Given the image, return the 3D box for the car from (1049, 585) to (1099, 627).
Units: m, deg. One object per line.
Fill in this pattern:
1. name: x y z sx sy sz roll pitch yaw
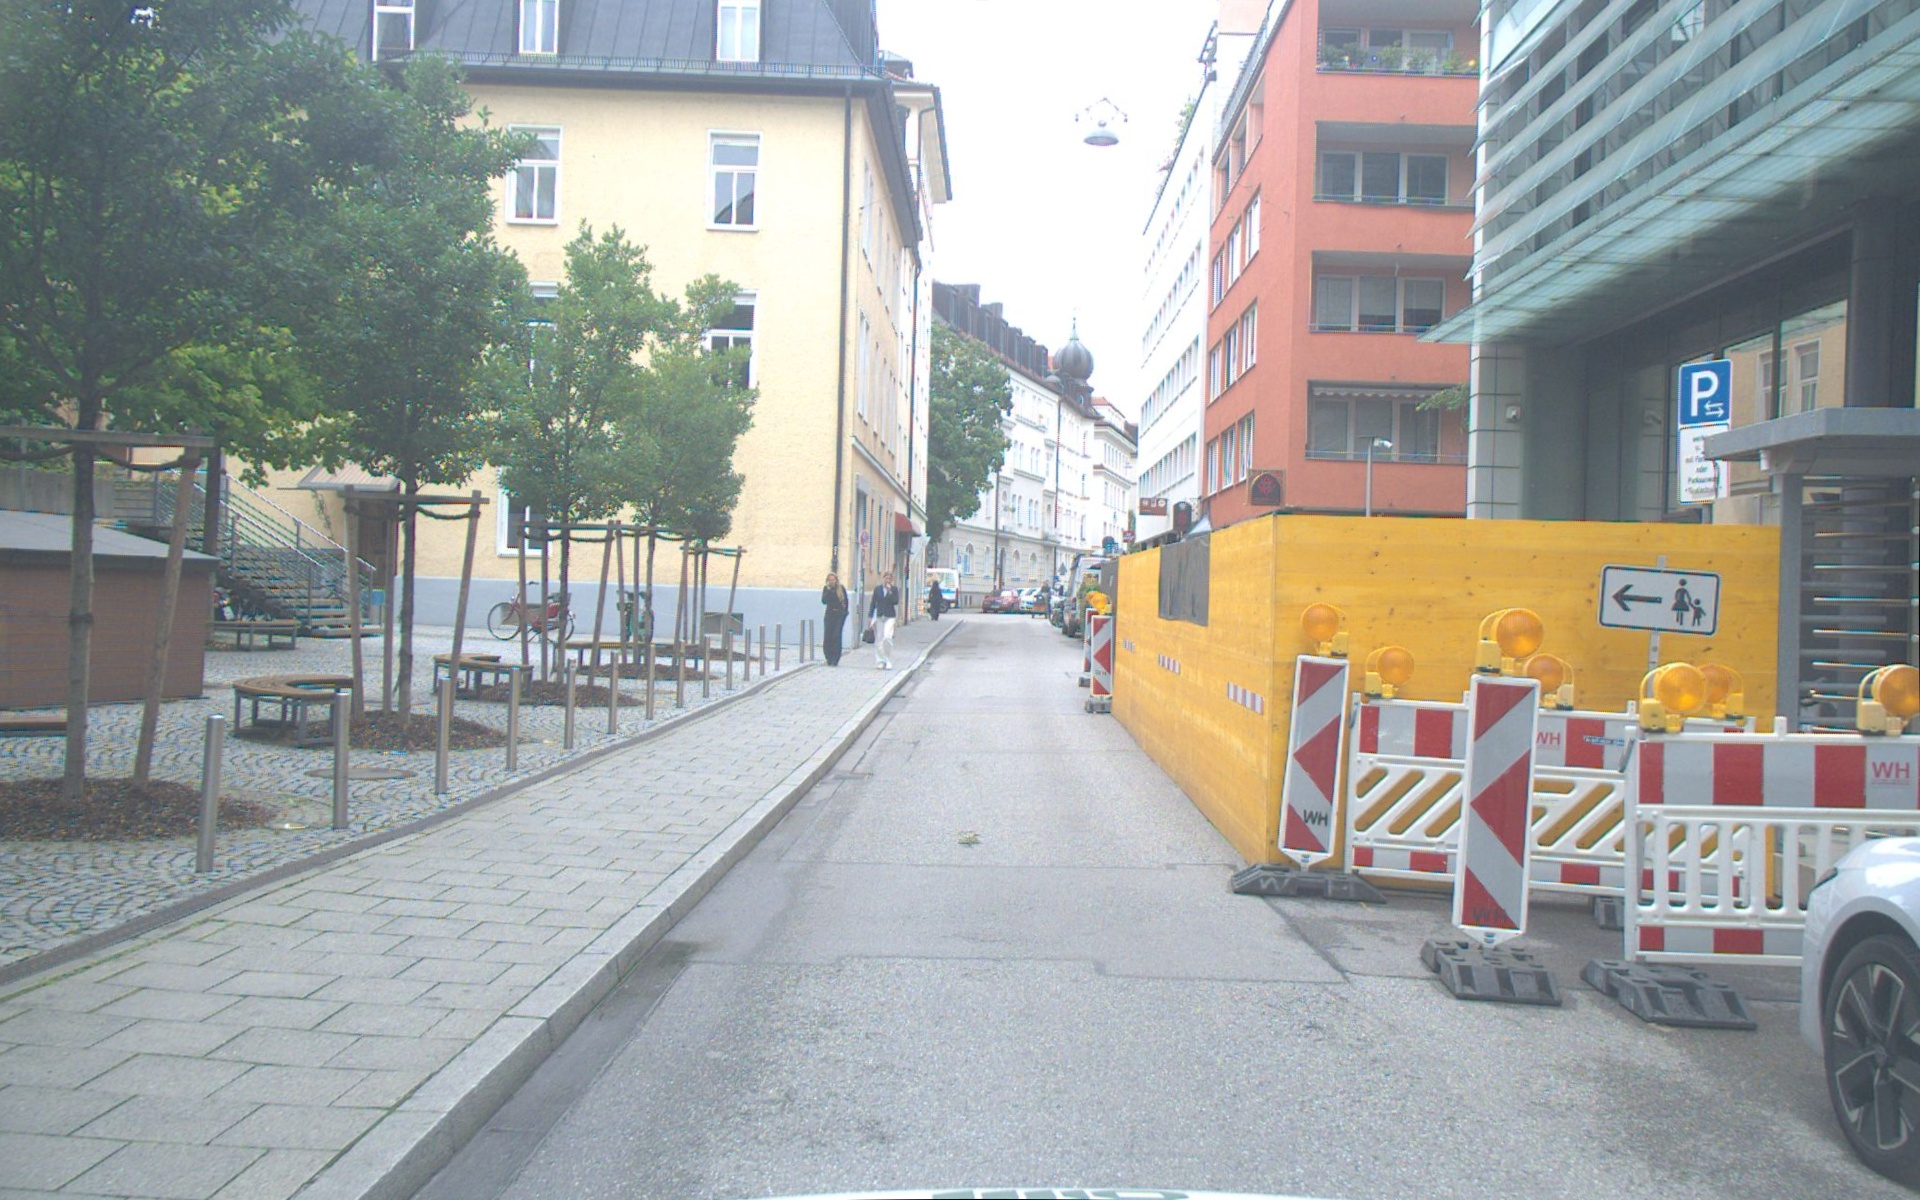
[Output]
1. car: 4.727 0.223 68.901 1.751 1.654 4.273 2 0 0

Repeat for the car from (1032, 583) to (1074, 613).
1. car: 6.196 -0.134 109.789 1.977 1.937 4.293 1 0 13

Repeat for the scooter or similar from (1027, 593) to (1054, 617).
1. scooter or similar: 4.021 0.248 82.649 1.045 1.146 1.161 3 0 17

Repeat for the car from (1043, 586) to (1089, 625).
1. car: 4.681 0.218 73.562 1.774 1.590 4.275 3 0 0

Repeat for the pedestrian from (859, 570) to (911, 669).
1. pedestrian: -1.347 0.344 29.849 0.822 1.730 0.803 2 0 0

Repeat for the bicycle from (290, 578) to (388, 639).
1. bicycle: -12.023 0.156 32.044 1.621 1.088 0.598 3 0 5

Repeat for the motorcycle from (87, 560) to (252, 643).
1. motorcycle: -13.278 0.027 27.805 2.447 1.266 0.759 3 0 8

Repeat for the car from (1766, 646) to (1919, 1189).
1. car: 3.435 0.916 3.065 1.673 1.438 4.510 3 0 1

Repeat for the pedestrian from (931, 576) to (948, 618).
1. pedestrian: -0.865 -0.122 68.756 0.621 1.704 0.517 2 0 1

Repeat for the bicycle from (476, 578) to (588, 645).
1. bicycle: -8.348 0.219 32.265 2.000 1.218 0.570 3 0 8

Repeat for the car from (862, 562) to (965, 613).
1. car: -2.416 -0.645 86.229 4.919 2.440 1.983 2 0 -28

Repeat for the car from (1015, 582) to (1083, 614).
1. car: 4.992 -0.098 92.535 1.666 1.601 3.977 3 0 41

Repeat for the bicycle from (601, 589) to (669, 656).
1. bicycle: -5.936 0.407 30.339 0.499 1.164 2.054 3 0 9

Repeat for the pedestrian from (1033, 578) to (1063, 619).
1. pedestrian: 4.486 -0.076 83.992 1.109 2.048 1.410 3 0 17

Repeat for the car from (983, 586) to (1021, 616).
1. car: 2.432 0.050 95.317 1.655 1.601 4.003 2 0 8

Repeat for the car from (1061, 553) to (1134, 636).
1. car: 4.525 -0.191 55.188 1.953 2.581 4.975 2 0 0

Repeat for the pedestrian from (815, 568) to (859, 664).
1. pedestrian: -2.218 0.285 29.795 0.656 1.677 0.761 2 0 0
